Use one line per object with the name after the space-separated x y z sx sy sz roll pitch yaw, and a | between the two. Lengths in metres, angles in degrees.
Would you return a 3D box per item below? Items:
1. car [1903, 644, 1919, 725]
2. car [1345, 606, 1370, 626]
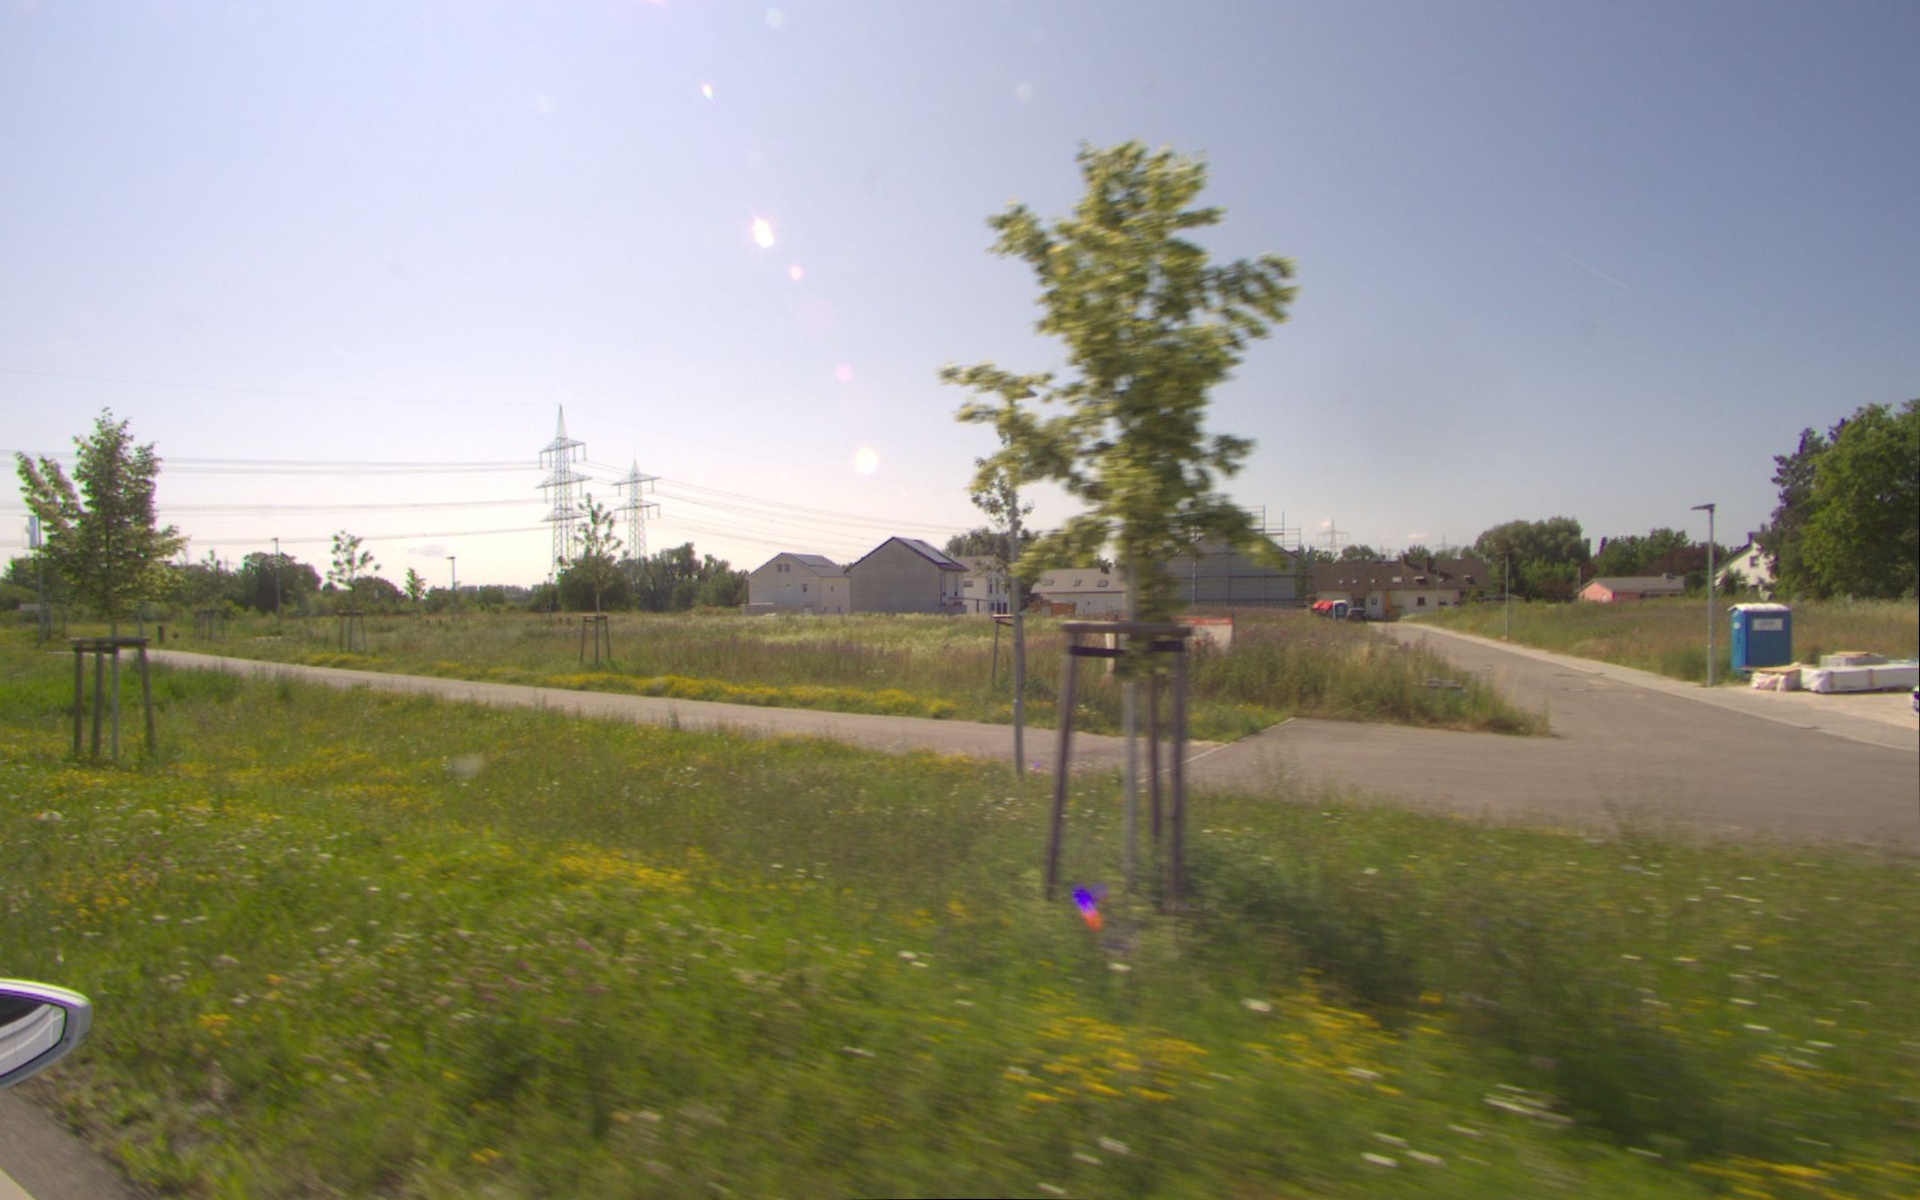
20.633 1.607 18.487 4.407 1.577 1.562 -1 -2 17 | car
35.184 1.393 88.635 1.711 1.539 3.992 -1 1 17 | car
